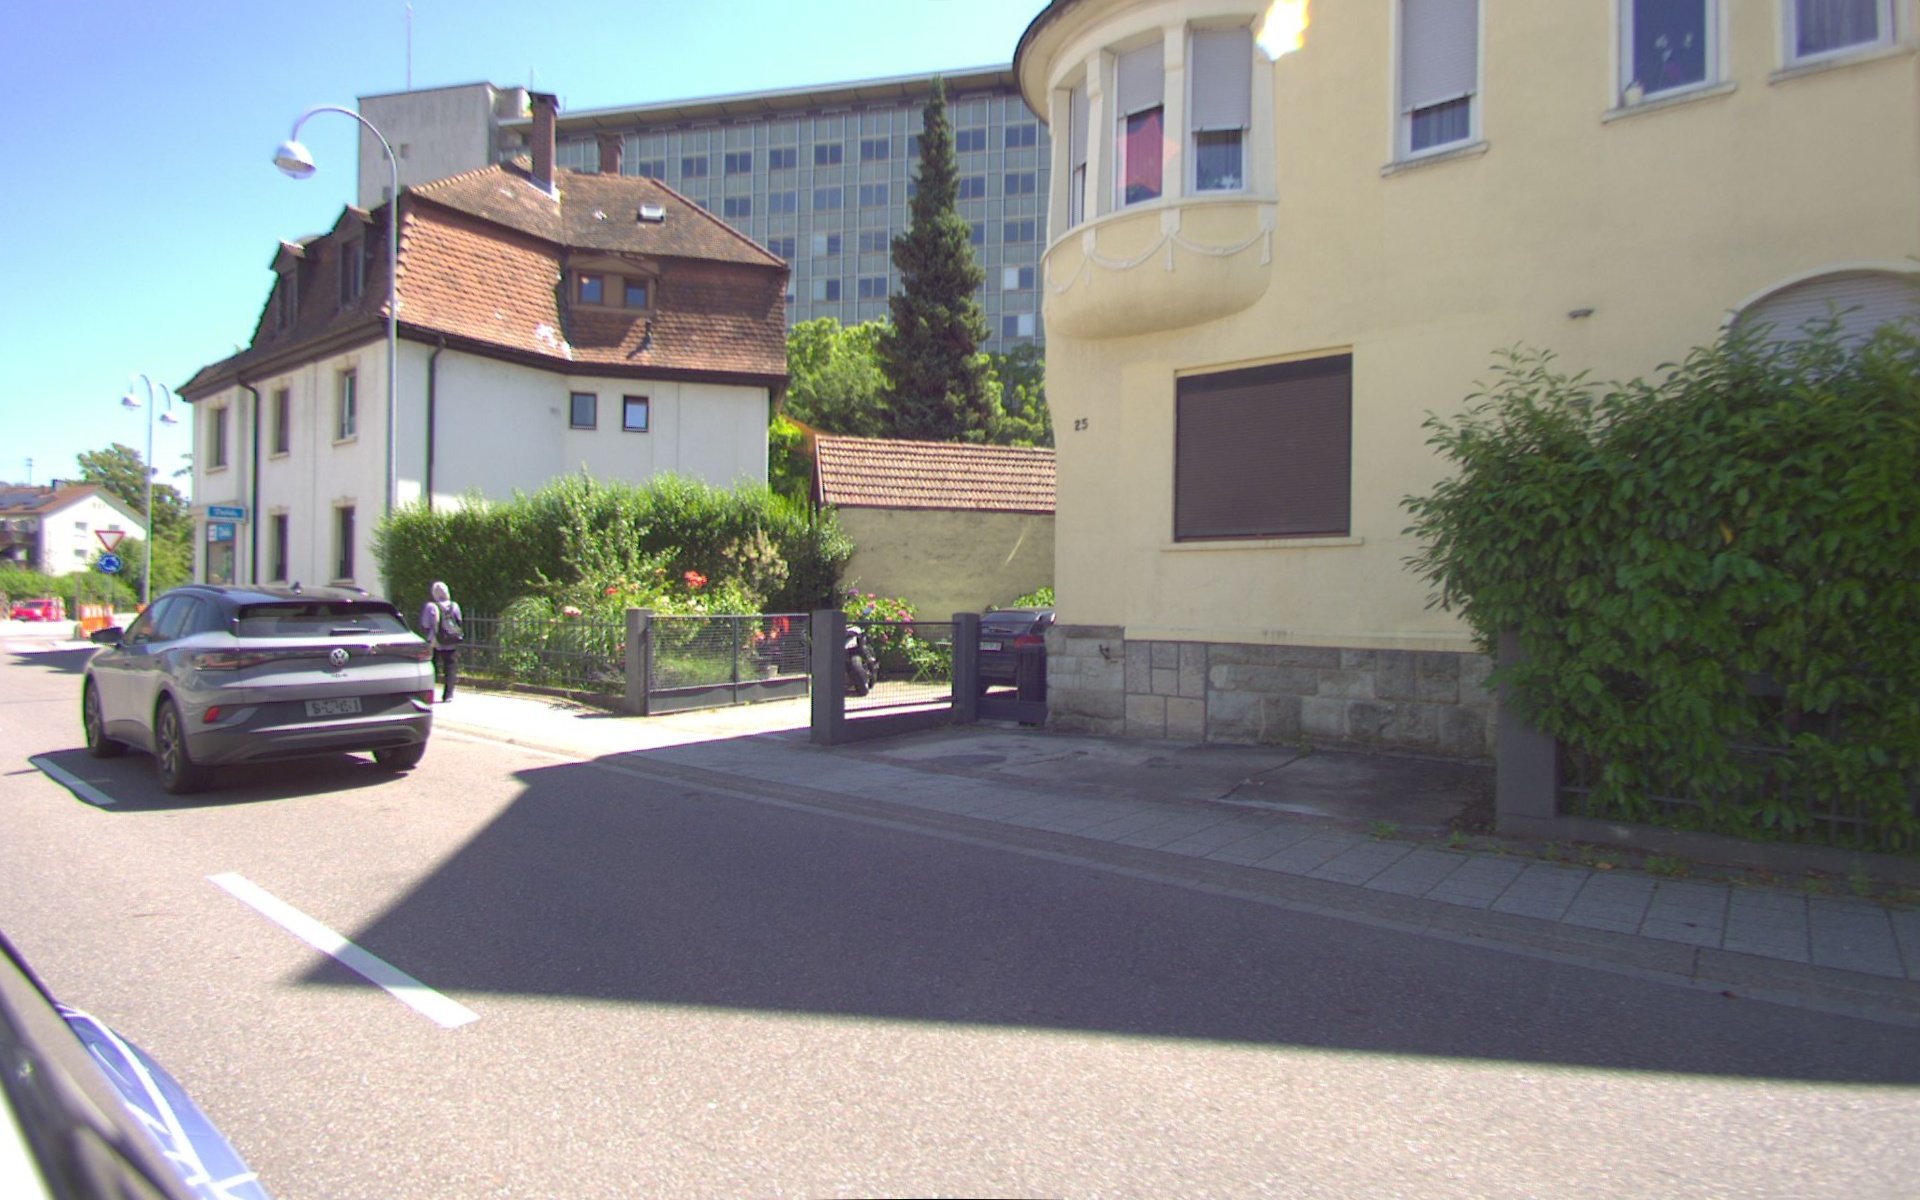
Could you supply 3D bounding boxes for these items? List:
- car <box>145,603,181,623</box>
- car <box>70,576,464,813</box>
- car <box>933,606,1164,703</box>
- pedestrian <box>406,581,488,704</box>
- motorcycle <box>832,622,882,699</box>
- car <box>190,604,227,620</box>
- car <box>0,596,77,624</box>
[{"bbox_3d":[-52.688,0.839,66.954,1.703,1.305,4.010,0,0,-36],"label":"car"},{"bbox_3d":[-6.320,0.667,9.038,4.293,1.629,1.834,0,-1,40],"label":"car"},{"bbox_3d":[1.549,0.842,16.555,1.866,1.391,3.947,0,-2,39],"label":"car"},{"bbox_3d":[-6.939,0.548,13.683,0.823,1.576,0.607,0,4,38],"label":"pedestrian"},{"bbox_3d":[-1.670,0.925,16.133,0.705,1.114,2.149,0,-1,-8],"label":"motorcycle"},{"bbox_3d":[-63.621,1.039,85.751,1.754,1.366,4.067,1,-1,-25],"label":"car"},{"bbox_3d":[-54.496,0.571,59.899,1.707,1.613,3.946,0,0,-13],"label":"car"}]
